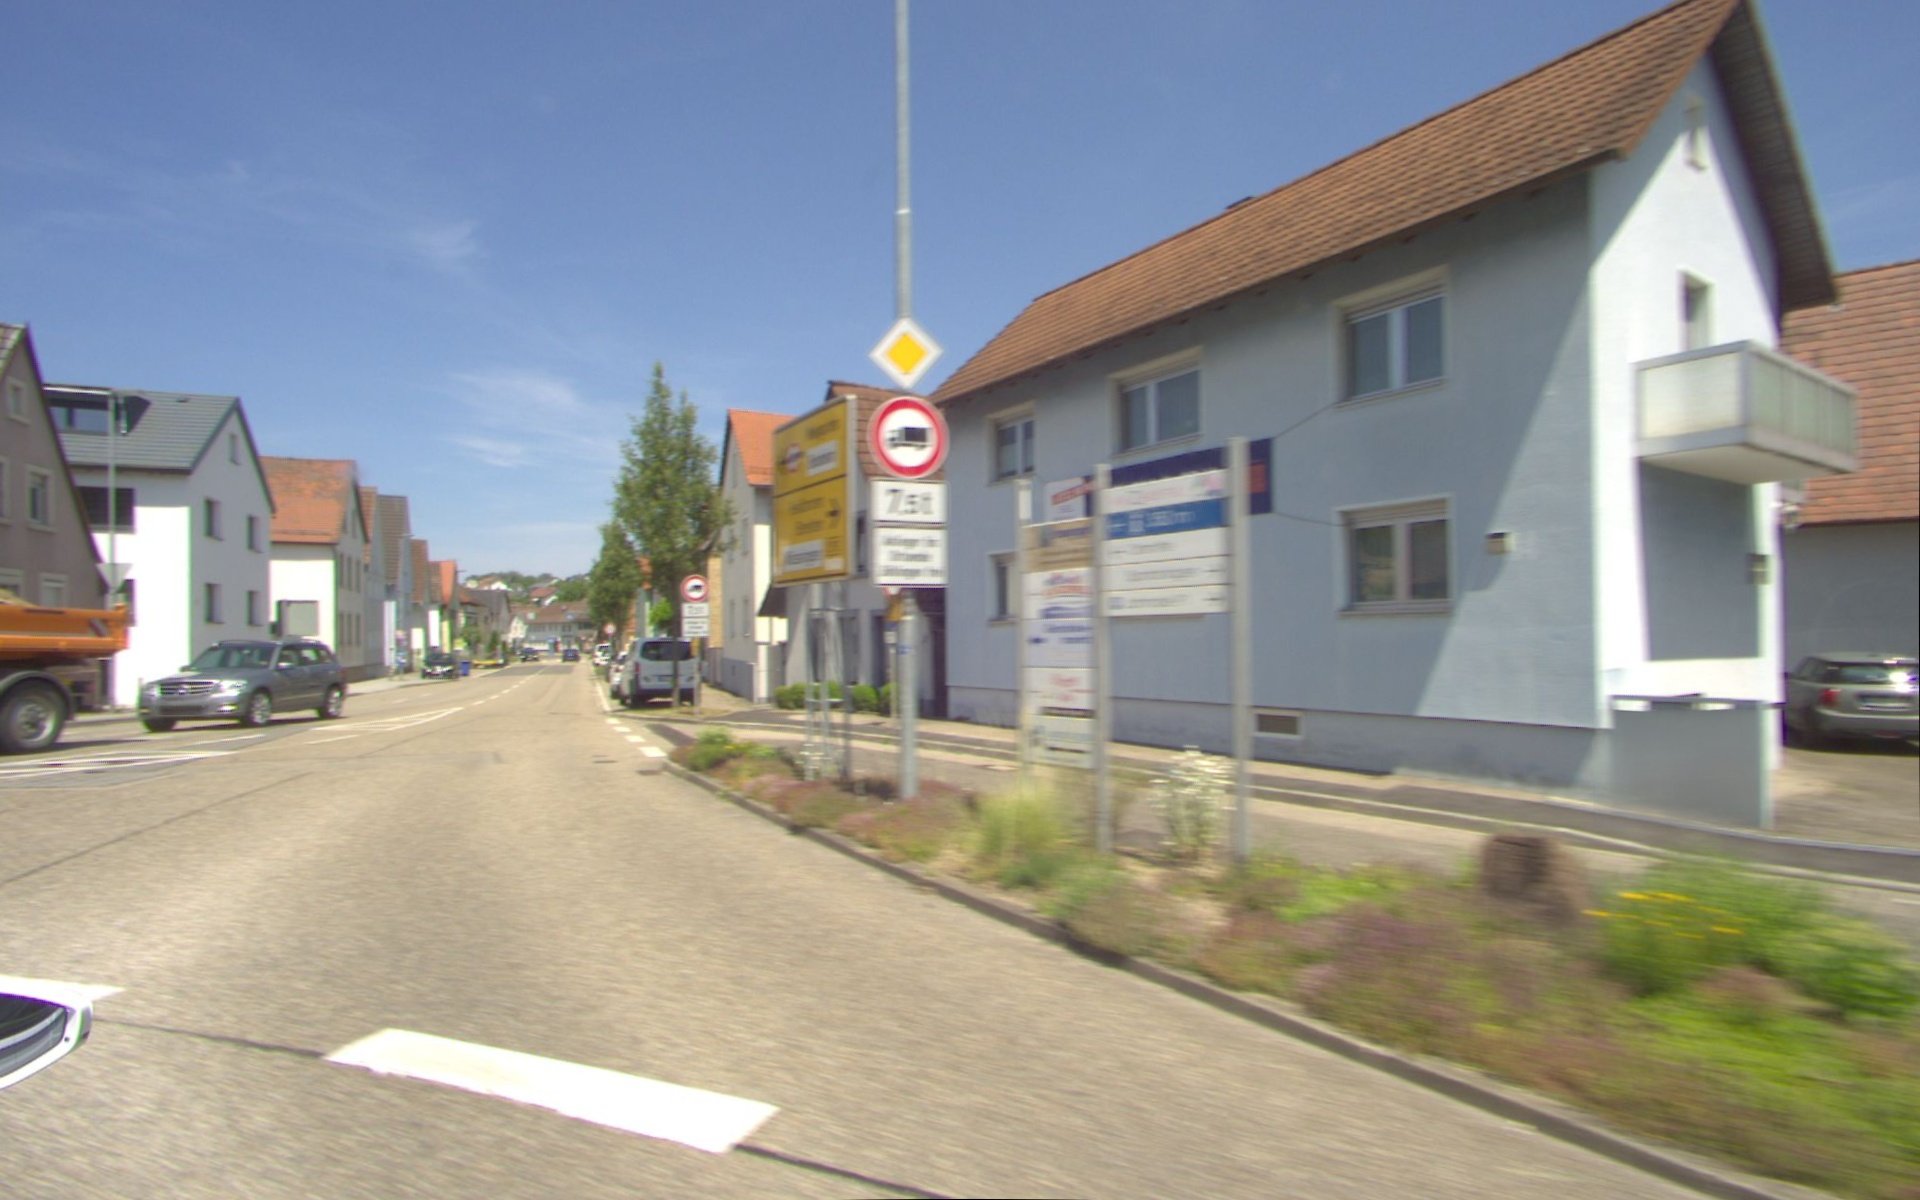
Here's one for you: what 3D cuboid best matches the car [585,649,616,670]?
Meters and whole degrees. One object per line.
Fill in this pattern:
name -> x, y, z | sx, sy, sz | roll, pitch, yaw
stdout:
car -> -27.979, 4.589, 77.889 | 1.968, 1.605, 3.989 | 1, -3, -23

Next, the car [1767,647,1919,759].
car -> 14.414, 1.558, 16.073 | 1.789, 1.472, 3.717 | -1, -1, 32

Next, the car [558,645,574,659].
car -> -45.720, 5.991, 116.253 | 1.695, 1.616, 3.990 | 1, -3, -22

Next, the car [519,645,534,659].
car -> -53.933, 6.456, 124.650 | 1.695, 1.616, 3.990 | 1, -3, -22

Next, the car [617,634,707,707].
car -> -8.665, 2.030, 28.872 | 1.968, 1.935, 4.313 | 1, -4, -24

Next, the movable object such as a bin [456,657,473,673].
movable object such as a bin -> -33.585, 4.389, 67.843 | 0.907, 1.062, 0.941 | 1, -2, -21

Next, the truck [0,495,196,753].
truck -> -13.295, 0.284, 11.987 | 2.617, 3.219, 7.470 | -1, -3, -1

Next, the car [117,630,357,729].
car -> -13.803, 1.513, 19.491 | 1.962, 1.695, 4.315 | 0, -4, -8

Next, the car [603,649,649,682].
car -> -17.637, 3.410, 52.815 | 1.968, 1.605, 3.988 | 1, -2, -23

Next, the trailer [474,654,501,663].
trailer -> -42.289, 5.236, 89.600 | 1.929, 0.787, 2.707 | 2, -3, -30

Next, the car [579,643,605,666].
car -> -32.577, 4.823, 88.624 | 1.968, 2.016, 3.989 | 1, -3, -23

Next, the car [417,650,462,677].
car -> -32.514, 3.938, 62.629 | 1.692, 1.616, 3.996 | 1, -3, -16

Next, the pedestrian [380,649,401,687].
pedestrian -> -31.676, 3.772, 55.684 | 0.757, 2.039, 0.975 | 1, -2, -16

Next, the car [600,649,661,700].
car -> -11.778, 2.587, 35.677 | 1.793, 1.655, 4.196 | 0, -2, -22
